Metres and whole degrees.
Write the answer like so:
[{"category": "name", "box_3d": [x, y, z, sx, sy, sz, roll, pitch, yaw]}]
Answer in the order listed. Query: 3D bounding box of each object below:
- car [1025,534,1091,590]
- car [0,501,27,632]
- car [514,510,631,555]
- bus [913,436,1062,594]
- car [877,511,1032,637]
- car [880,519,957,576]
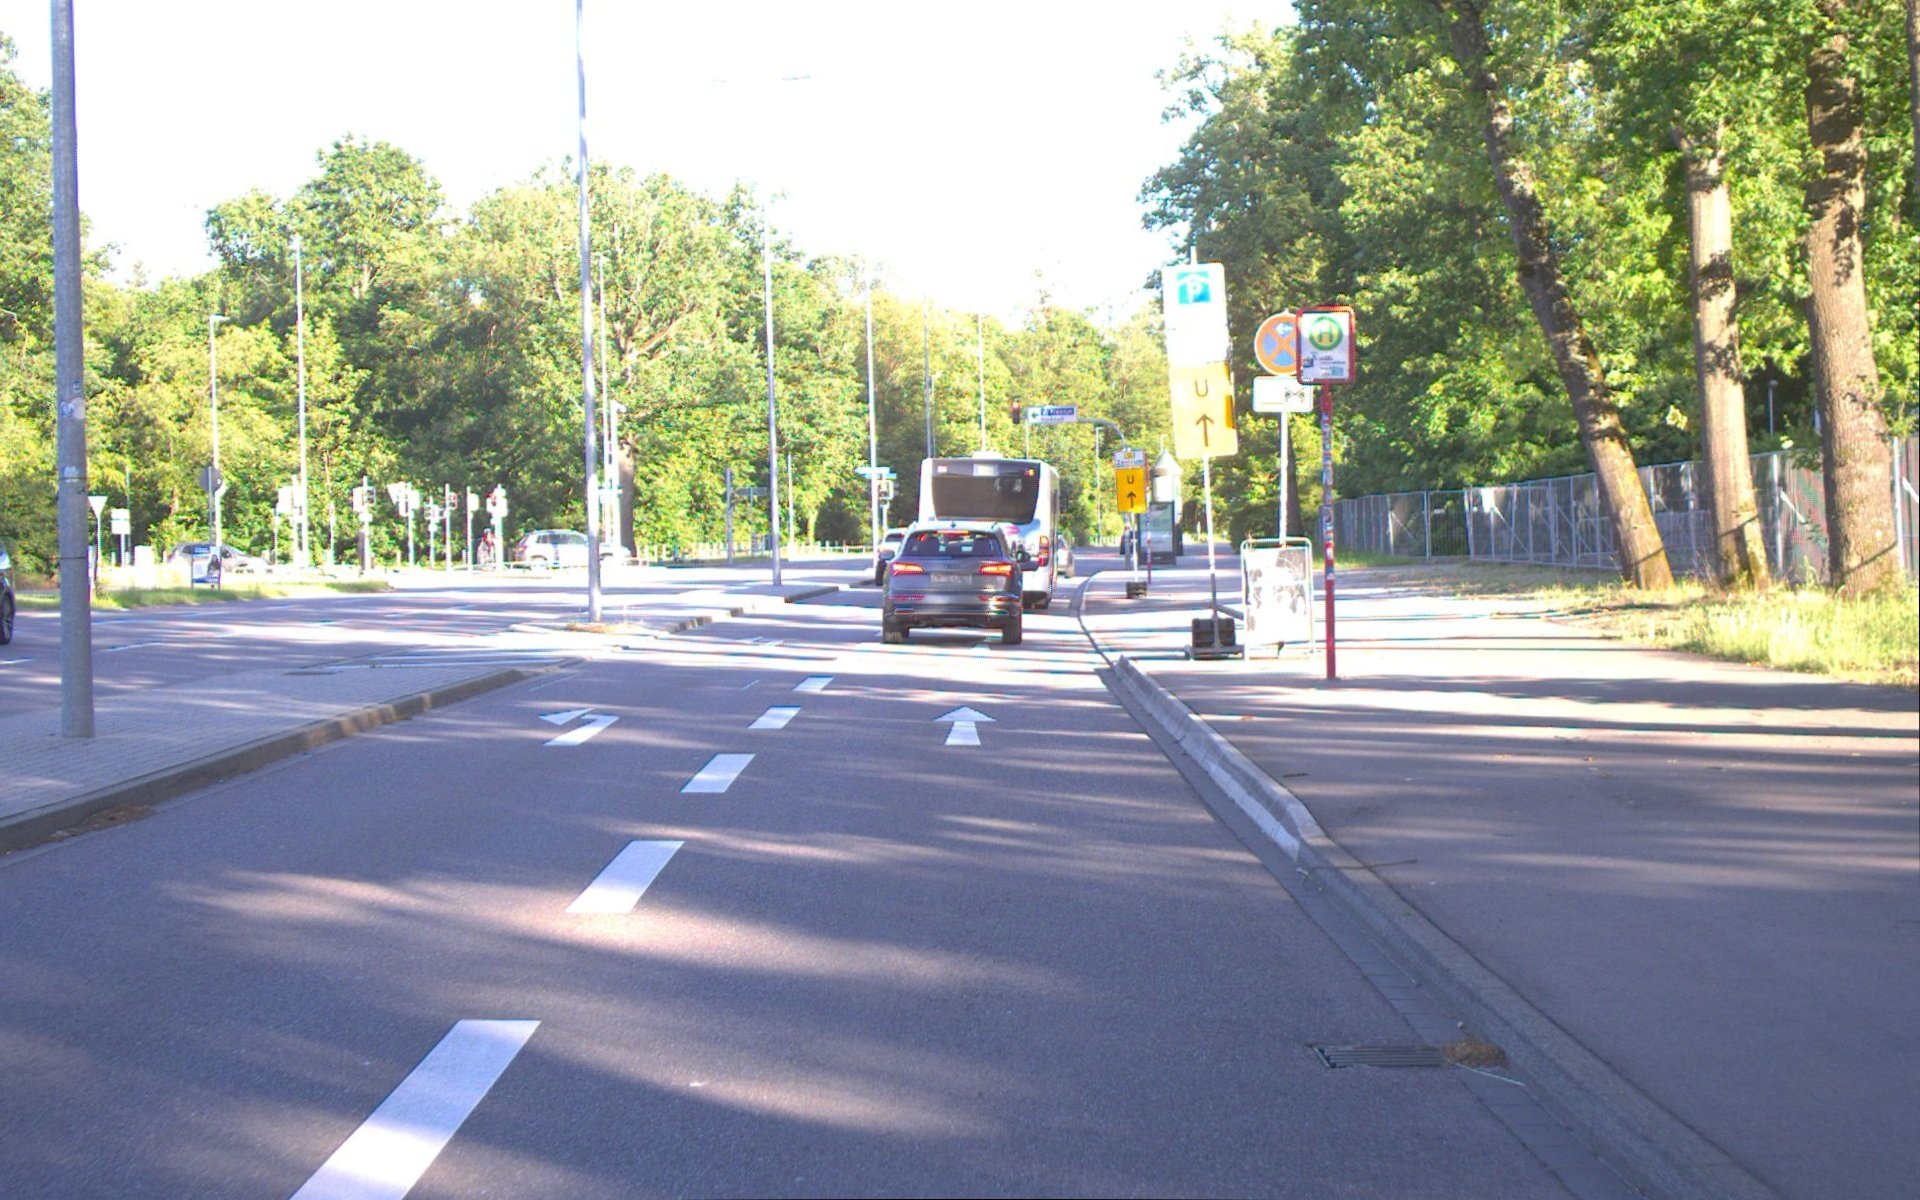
[{"category": "car", "box_3d": [3.138, -1.205, 109.296, 1.910, 1.722, 4.579, 1, 1, 4]}, {"category": "car", "box_3d": [-13.212, -0.416, 43.118, 1.783, 1.686, 4.703, 1, 2, -1]}, {"category": "car", "box_3d": [-14.636, -2.545, 129.792, 4.217, 1.579, 2.105, -2, 1, -10]}, {"category": "bus", "box_3d": [0.657, -1.680, 69.847, 2.595, 2.978, 9.326, 1, 1, 3]}, {"category": "car", "box_3d": [-0.038, -0.390, 47.095, 1.899, 1.626, 4.000, 1, 1, 3]}, {"category": "car", "box_3d": [-1.099, -1.430, 92.967, 1.836, 1.513, 4.000, 0, 1, 3]}]
